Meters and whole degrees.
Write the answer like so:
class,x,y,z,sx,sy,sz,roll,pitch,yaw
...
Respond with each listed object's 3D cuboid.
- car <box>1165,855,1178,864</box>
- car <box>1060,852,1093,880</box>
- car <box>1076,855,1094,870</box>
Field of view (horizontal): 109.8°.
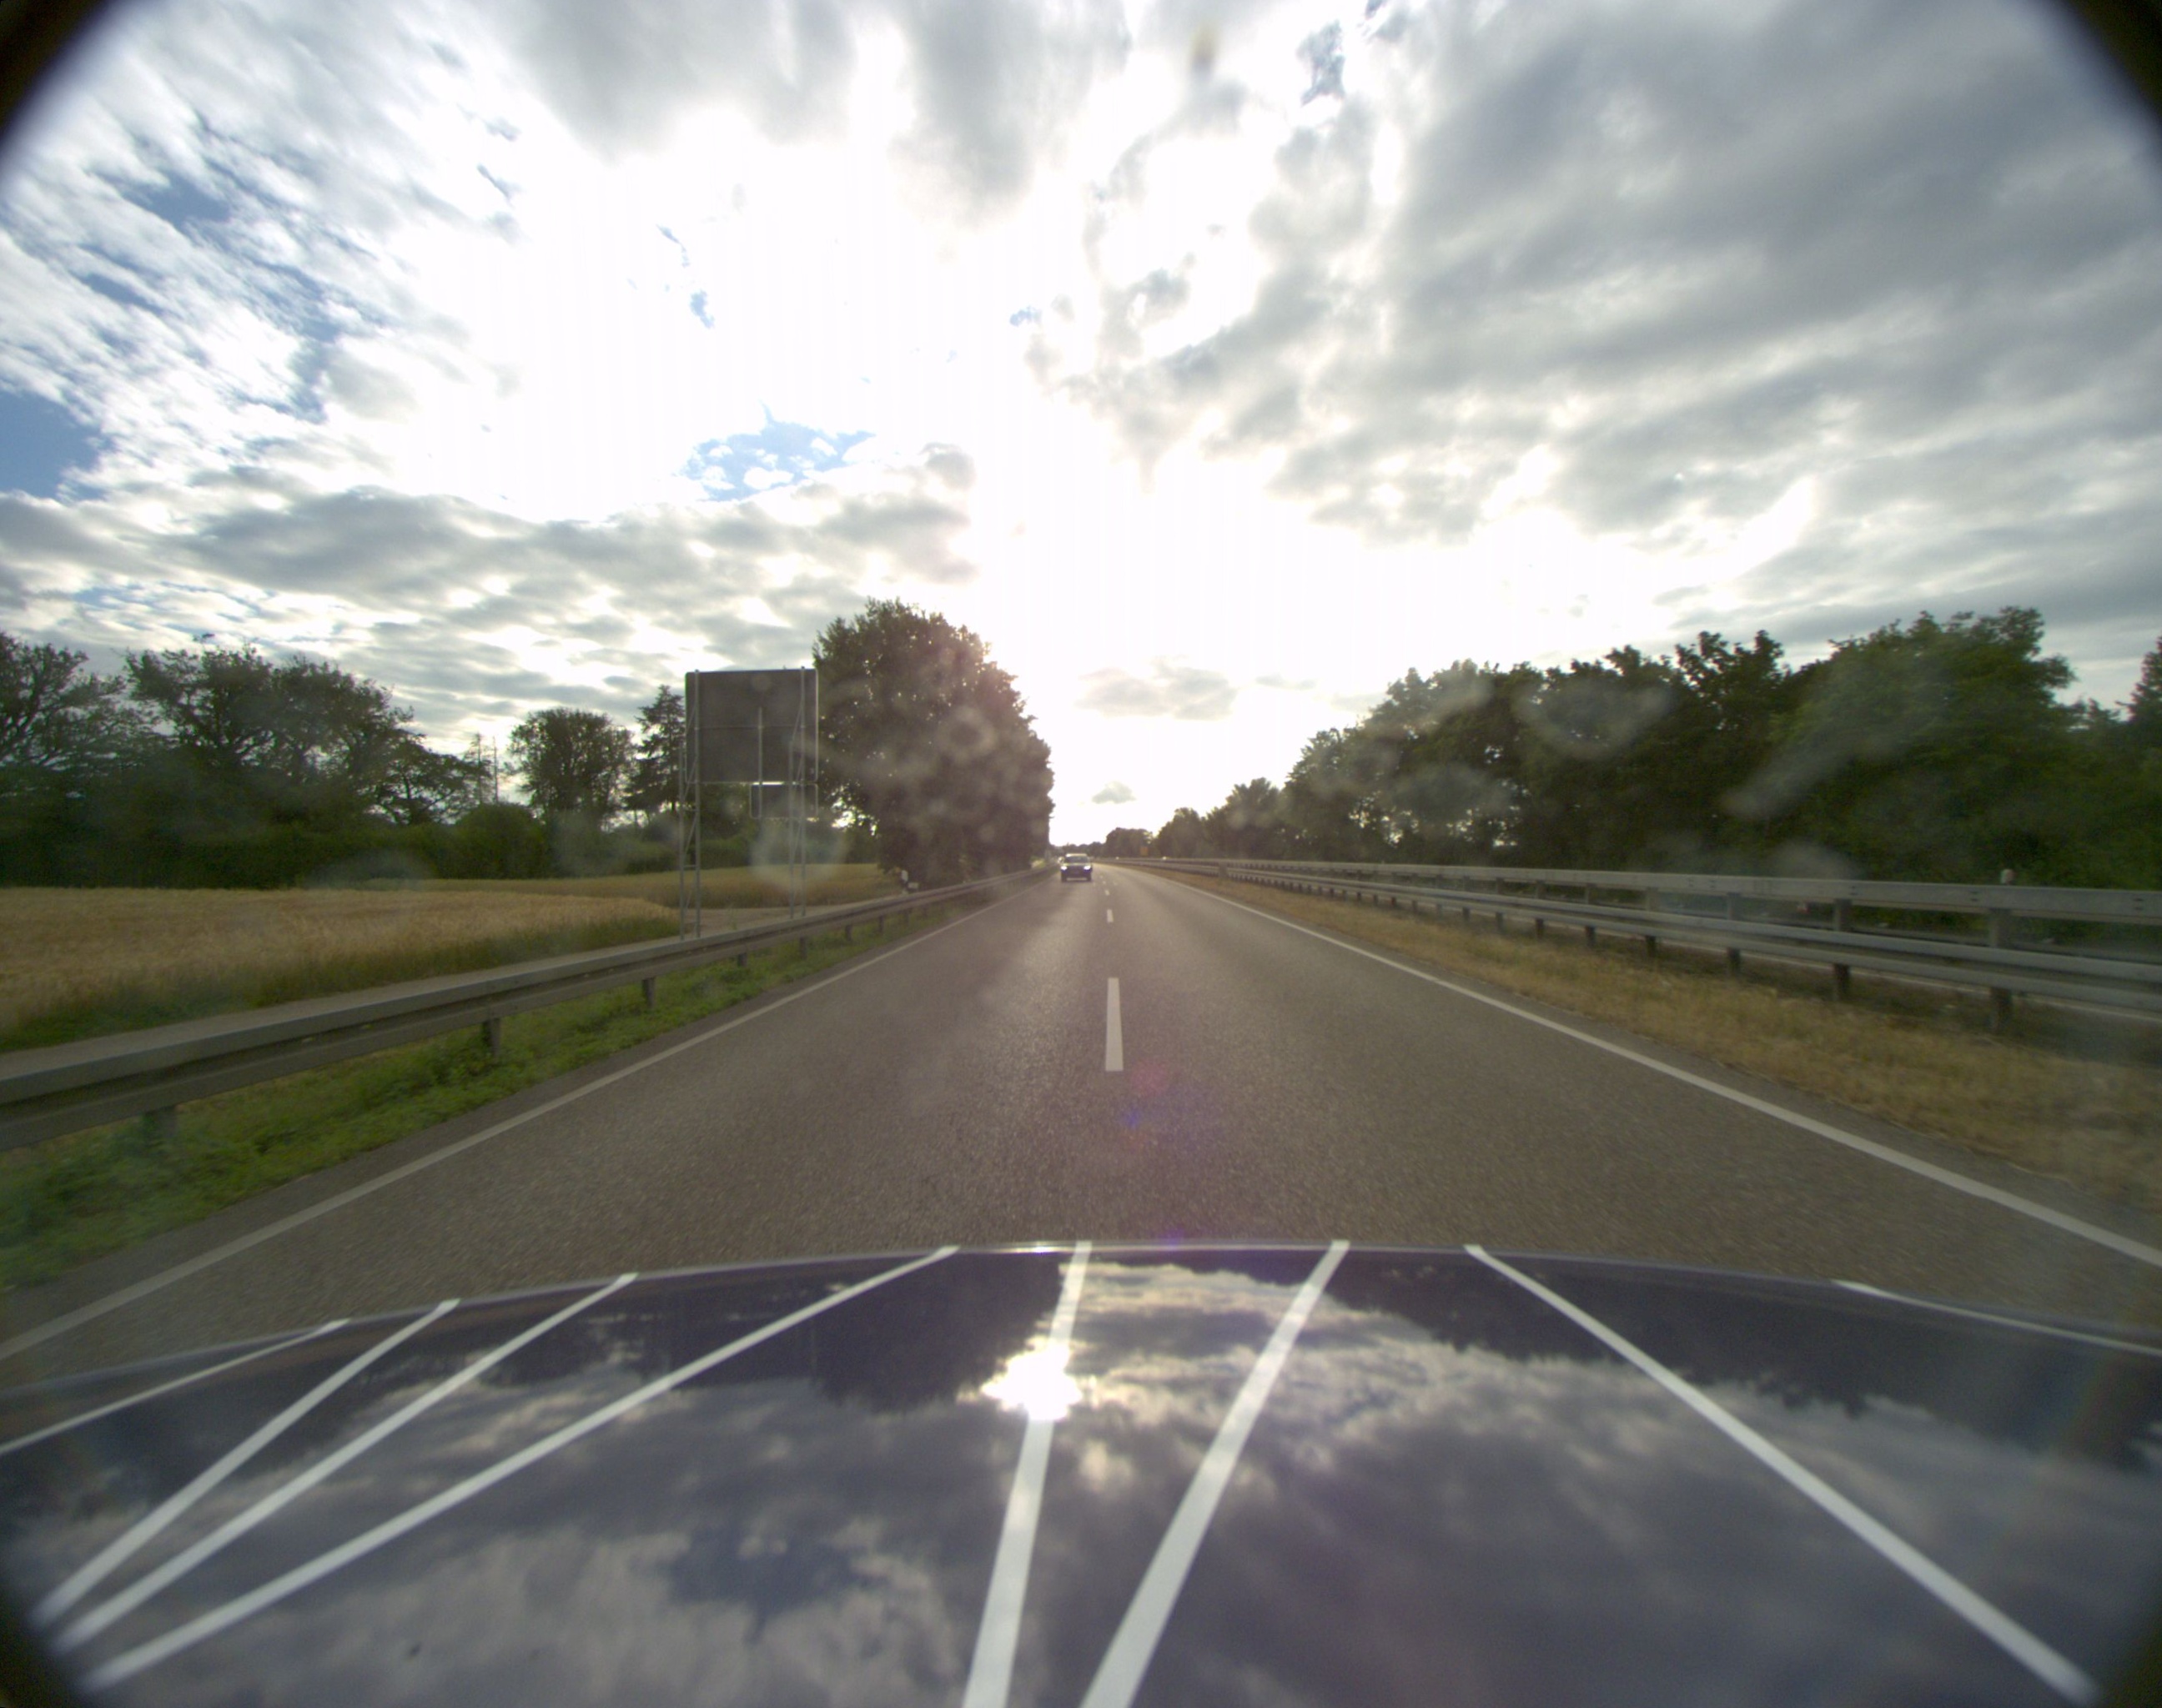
class,x,y,z,sx,sy,sz,roll,pitch,yaw
car,15.861,0.972,133.209,1.829,1.535,4.587,1,0,1
car,-0.239,0.719,47.487,1.863,1.636,4.000,-1,0,1
car,0.388,0.861,75.274,1.775,1.389,3.999,-1,0,0
